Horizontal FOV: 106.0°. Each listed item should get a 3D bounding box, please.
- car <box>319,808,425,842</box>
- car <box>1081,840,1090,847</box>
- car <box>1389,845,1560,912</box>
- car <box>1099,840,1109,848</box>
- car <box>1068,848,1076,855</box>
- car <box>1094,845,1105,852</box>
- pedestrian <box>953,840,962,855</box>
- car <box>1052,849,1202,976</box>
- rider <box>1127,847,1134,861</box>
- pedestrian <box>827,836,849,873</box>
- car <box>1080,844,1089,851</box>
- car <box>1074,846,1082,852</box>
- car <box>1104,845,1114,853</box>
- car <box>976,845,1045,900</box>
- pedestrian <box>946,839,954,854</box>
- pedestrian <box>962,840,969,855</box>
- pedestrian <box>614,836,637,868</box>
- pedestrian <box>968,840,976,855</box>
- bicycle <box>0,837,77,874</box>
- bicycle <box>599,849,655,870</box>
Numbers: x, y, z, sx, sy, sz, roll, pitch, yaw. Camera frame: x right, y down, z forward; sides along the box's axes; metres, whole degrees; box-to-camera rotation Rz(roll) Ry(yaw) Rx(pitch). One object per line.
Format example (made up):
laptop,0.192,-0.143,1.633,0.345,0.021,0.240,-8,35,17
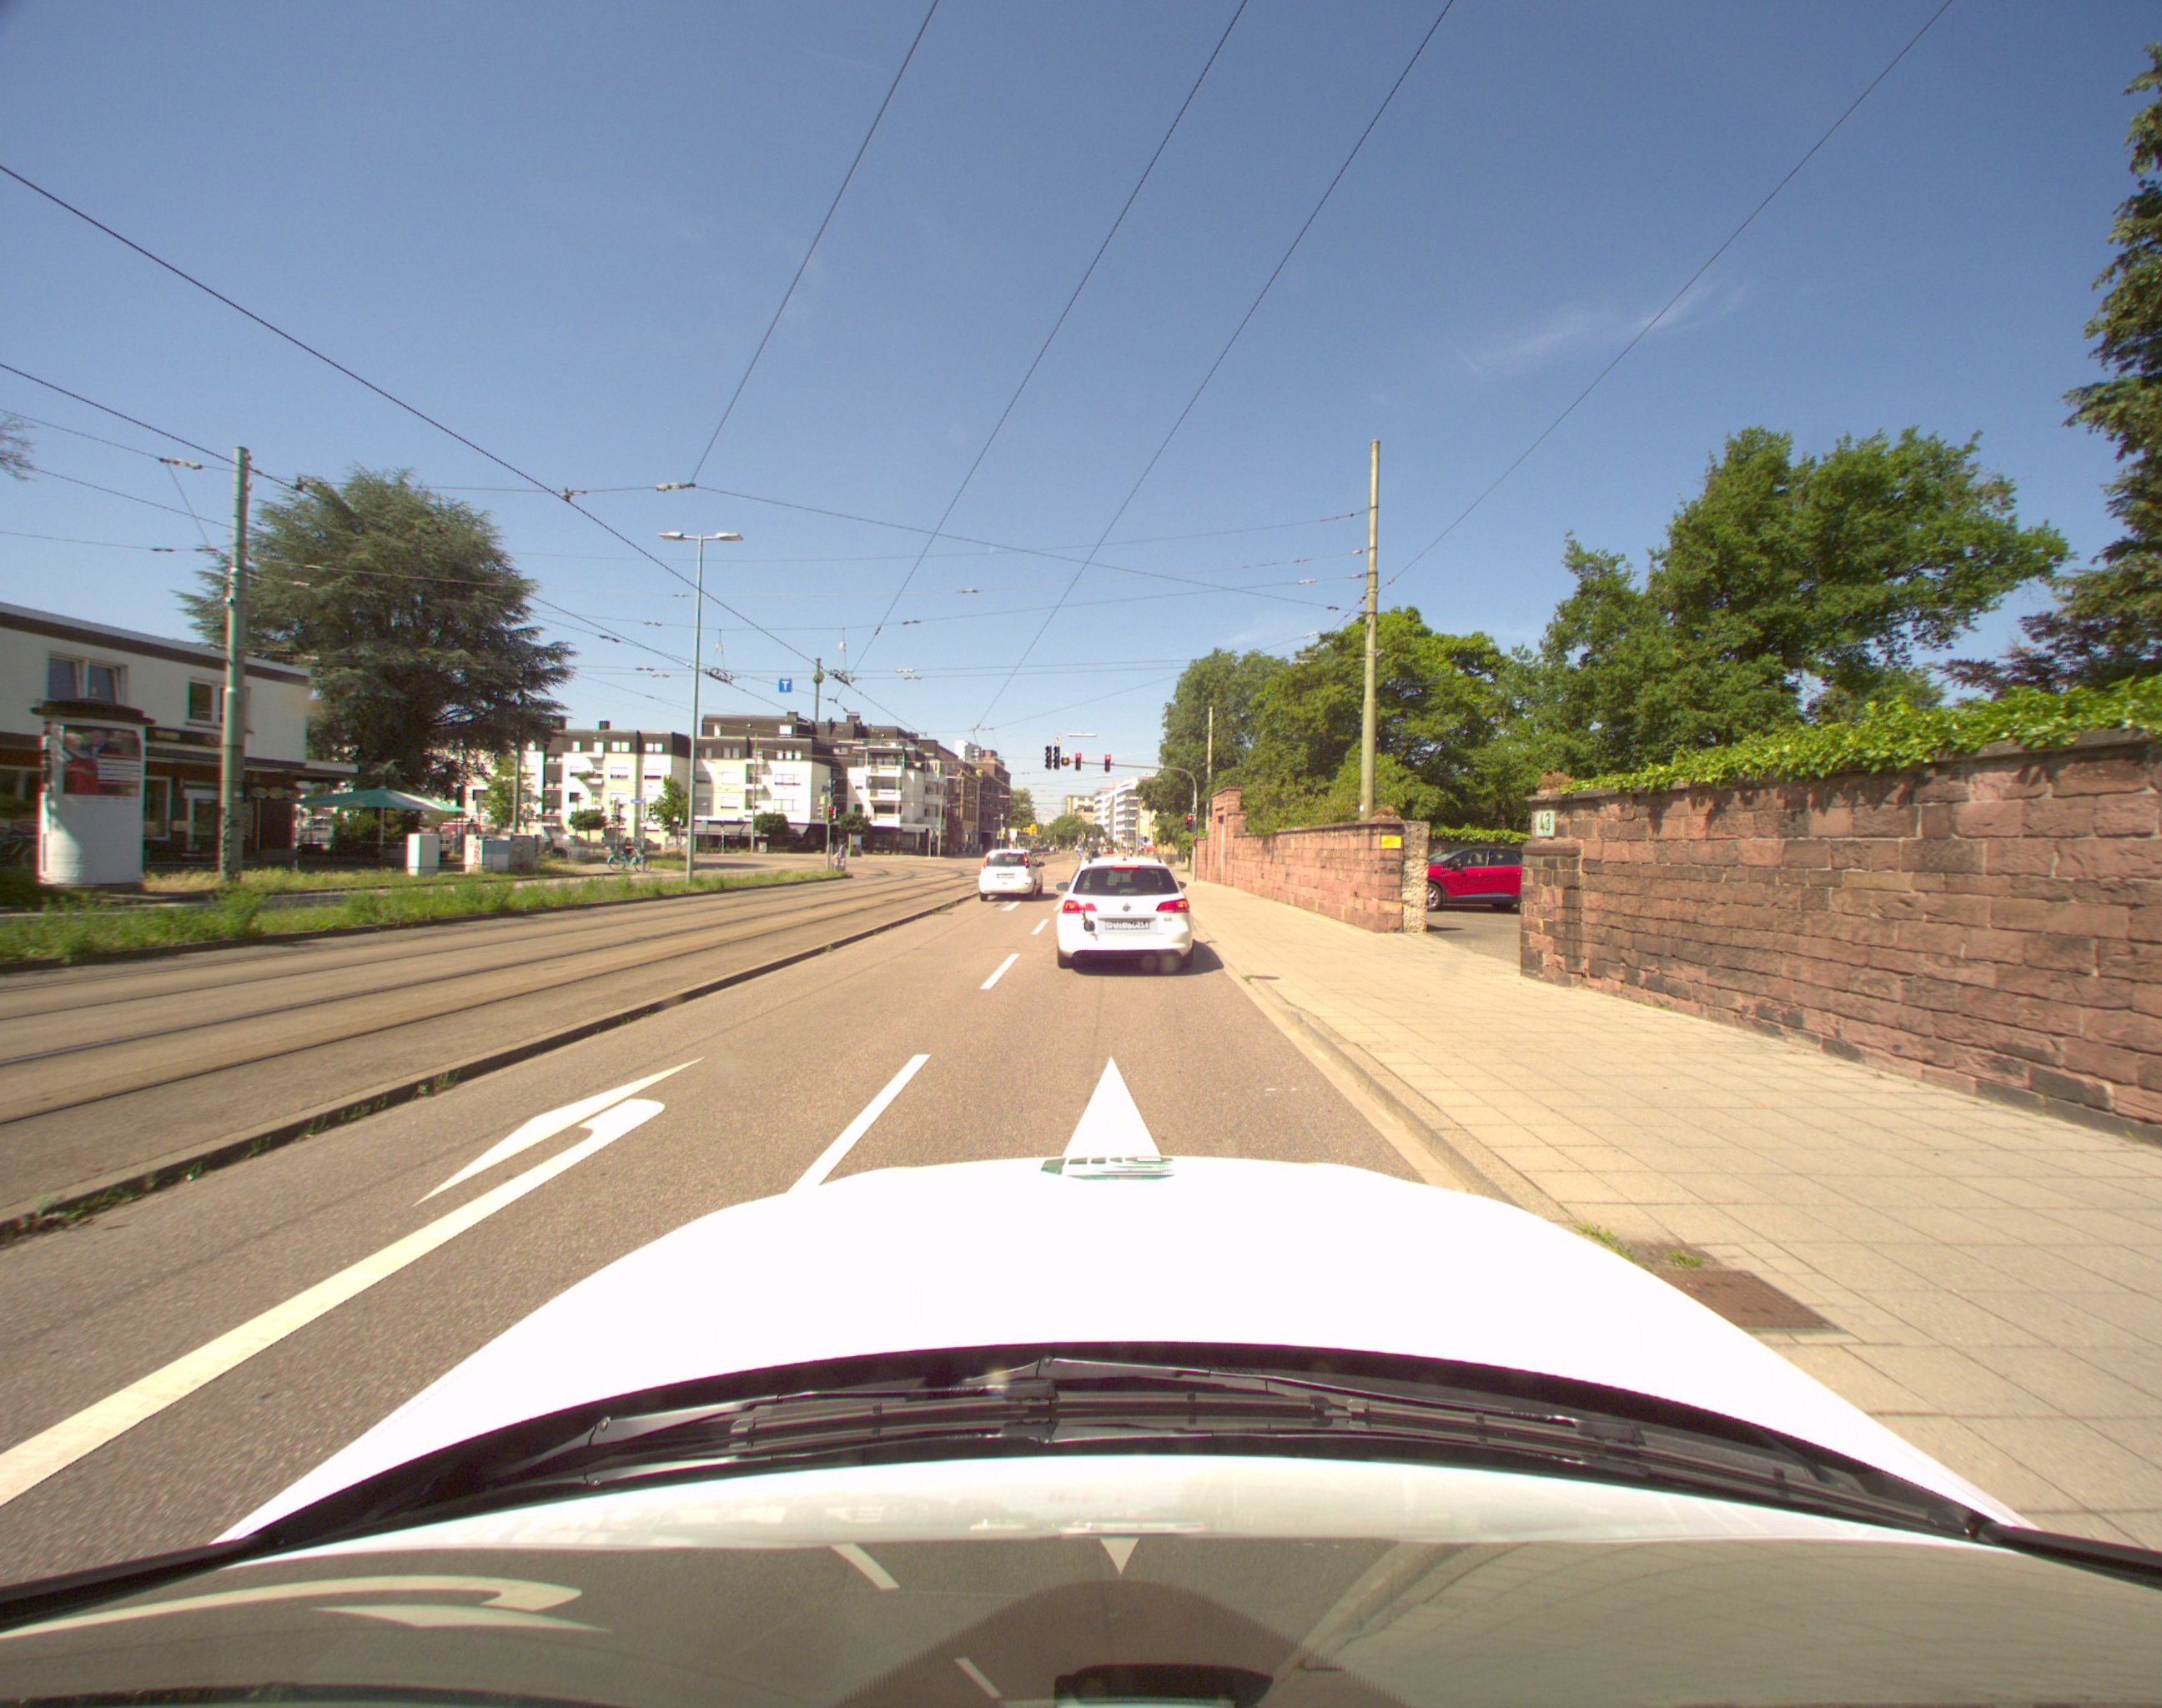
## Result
car,-51.099,-2.077,58.800,5.535,2.013,2.250,3,0,0
car,1.356,-3.375,252.143,1.996,2.013,3.982,3,0,-13
car,9.433,0.564,19.705,3.394,1.464,1.525,1,0,1
car,6.629,-2.800,230.860,1.995,2.013,3.984,1,0,-12
car,-2.185,-0.577,190.065,1.692,1.591,3.536,1,0,1
car,4.750,-1.432,213.205,1.995,1.903,3.984,1,0,-12
pedestrian,-16.202,-0.875,106.860,0.934,2.013,0.989,1,0,-3
car,0.640,0.687,11.609,1.771,1.490,3.850,0,0,3
rider,6.415,-0.022,105.631,0.887,1.728,2.205,1,0,3
pedestrian,-11.697,0.004,39.251,0.825,1.738,0.930,1,0,-6
car,1.139,-2.022,257.083,1.995,2.013,3.984,1,0,-12
car,-0.766,-1.342,230.542,1.697,1.591,3.525,1,0,-8
car,7.419,-1.288,216.526,1.995,2.013,3.984,1,0,-12
car,-2.167,0.542,25.979,1.724,1.596,4.012,1,0,1
pedestrian,-17.196,-0.985,106.682,0.934,2.013,0.990,1,0,-2
pedestrian,-15.399,-0.866,108.690,0.935,2.013,0.988,1,0,-6
pedestrian,-21.256,-0.087,37.997,0.820,1.487,0.559,1,0,-40
pedestrian,-15.315,-0.905,114.252,0.934,2.013,0.989,1,0,-4
bicycle,-27.106,0.031,20.444,0.780,0.888,2.393,1,0,3
bicycle,-20.937,0.257,37.552,2.188,0.921,0.547,1,0,-40
